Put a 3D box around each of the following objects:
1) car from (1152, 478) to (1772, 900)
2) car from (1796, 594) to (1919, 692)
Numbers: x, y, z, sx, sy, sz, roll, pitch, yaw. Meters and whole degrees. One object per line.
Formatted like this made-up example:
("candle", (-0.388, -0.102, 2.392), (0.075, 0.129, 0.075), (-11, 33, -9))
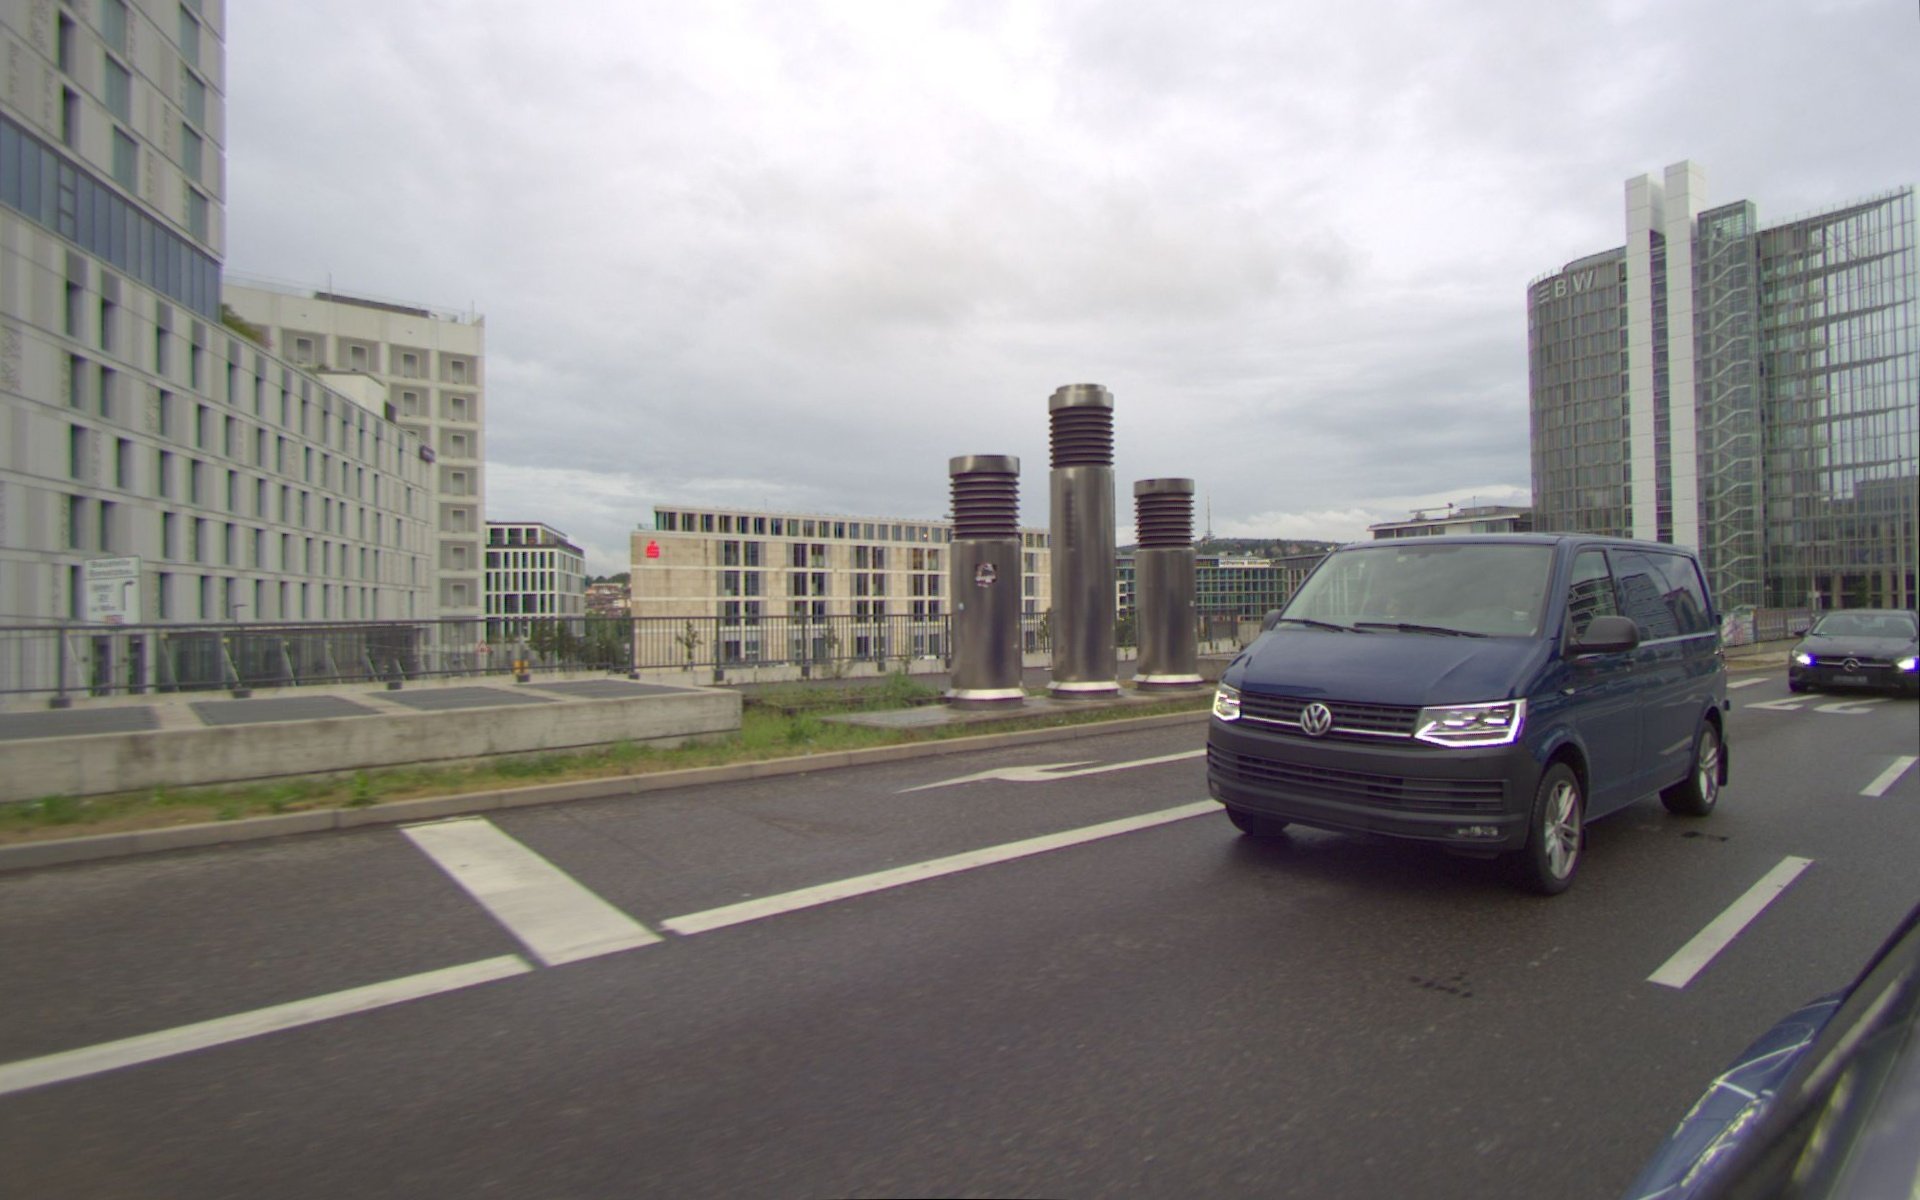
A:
("car", (3.709, 0.419, 6.964), (4.952, 1.906, 2.037), (1, 0, -40))
("car", (15.880, 0.648, 17.390), (4.084, 1.393, 1.726), (-3, 2, -41))
